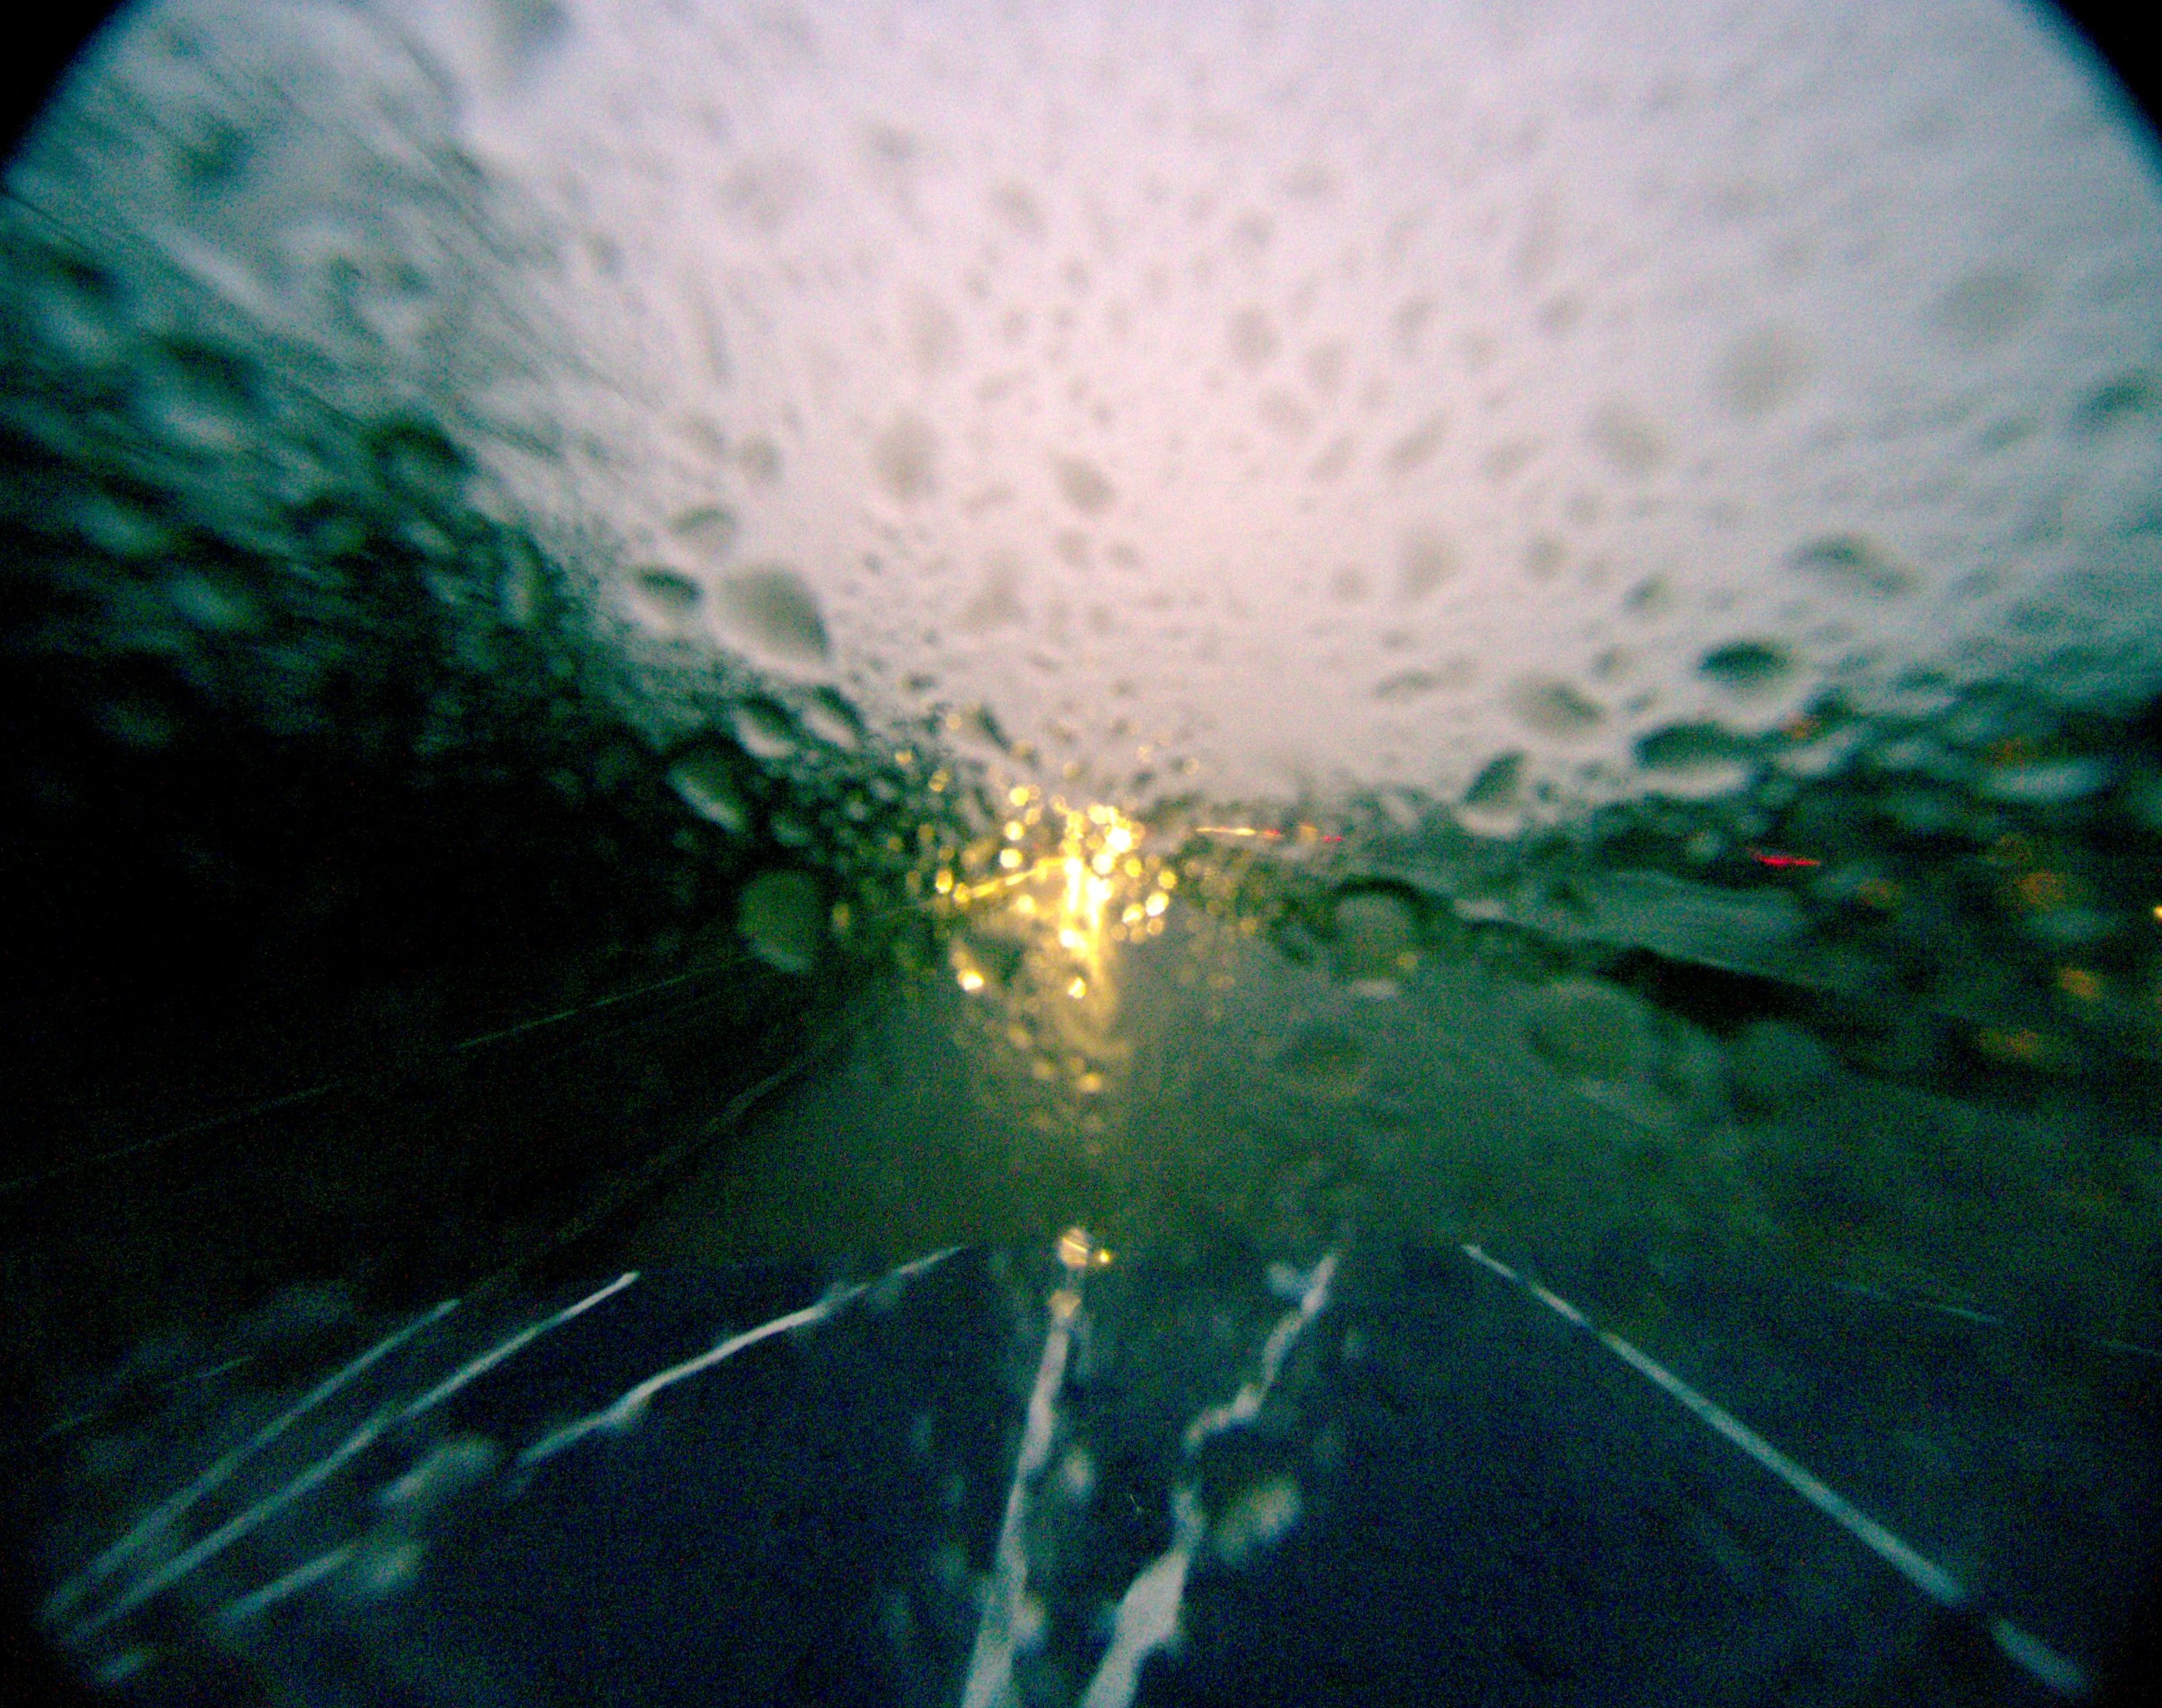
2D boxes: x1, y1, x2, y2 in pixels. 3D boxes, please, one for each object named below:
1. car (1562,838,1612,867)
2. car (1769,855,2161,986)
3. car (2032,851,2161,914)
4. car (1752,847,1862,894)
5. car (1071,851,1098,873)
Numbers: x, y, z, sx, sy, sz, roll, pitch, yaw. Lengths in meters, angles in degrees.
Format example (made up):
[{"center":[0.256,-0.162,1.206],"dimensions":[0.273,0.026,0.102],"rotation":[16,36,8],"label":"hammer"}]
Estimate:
[{"center":[36.994,-0.103,55.622],"dimensions":[1.914,2.002,4.004],"rotation":[-1,1,16],"label":"car"},{"center":[13.354,0.812,11.578],"dimensions":[1.779,1.525,4.704],"rotation":[0,1,5],"label":"car"},{"center":[28.281,0.720,20.296],"dimensions":[1.461,1.556,3.652],"rotation":[-1,1,7],"label":"car"},{"center":[33.660,0.704,35.409],"dimensions":[1.996,2.002,4.004],"rotation":[-1,1,14],"label":"car"},{"center":[0.269,0.551,56.151],"dimensions":[1.841,1.553,3.867],"rotation":[-2,1,1],"label":"car"}]
